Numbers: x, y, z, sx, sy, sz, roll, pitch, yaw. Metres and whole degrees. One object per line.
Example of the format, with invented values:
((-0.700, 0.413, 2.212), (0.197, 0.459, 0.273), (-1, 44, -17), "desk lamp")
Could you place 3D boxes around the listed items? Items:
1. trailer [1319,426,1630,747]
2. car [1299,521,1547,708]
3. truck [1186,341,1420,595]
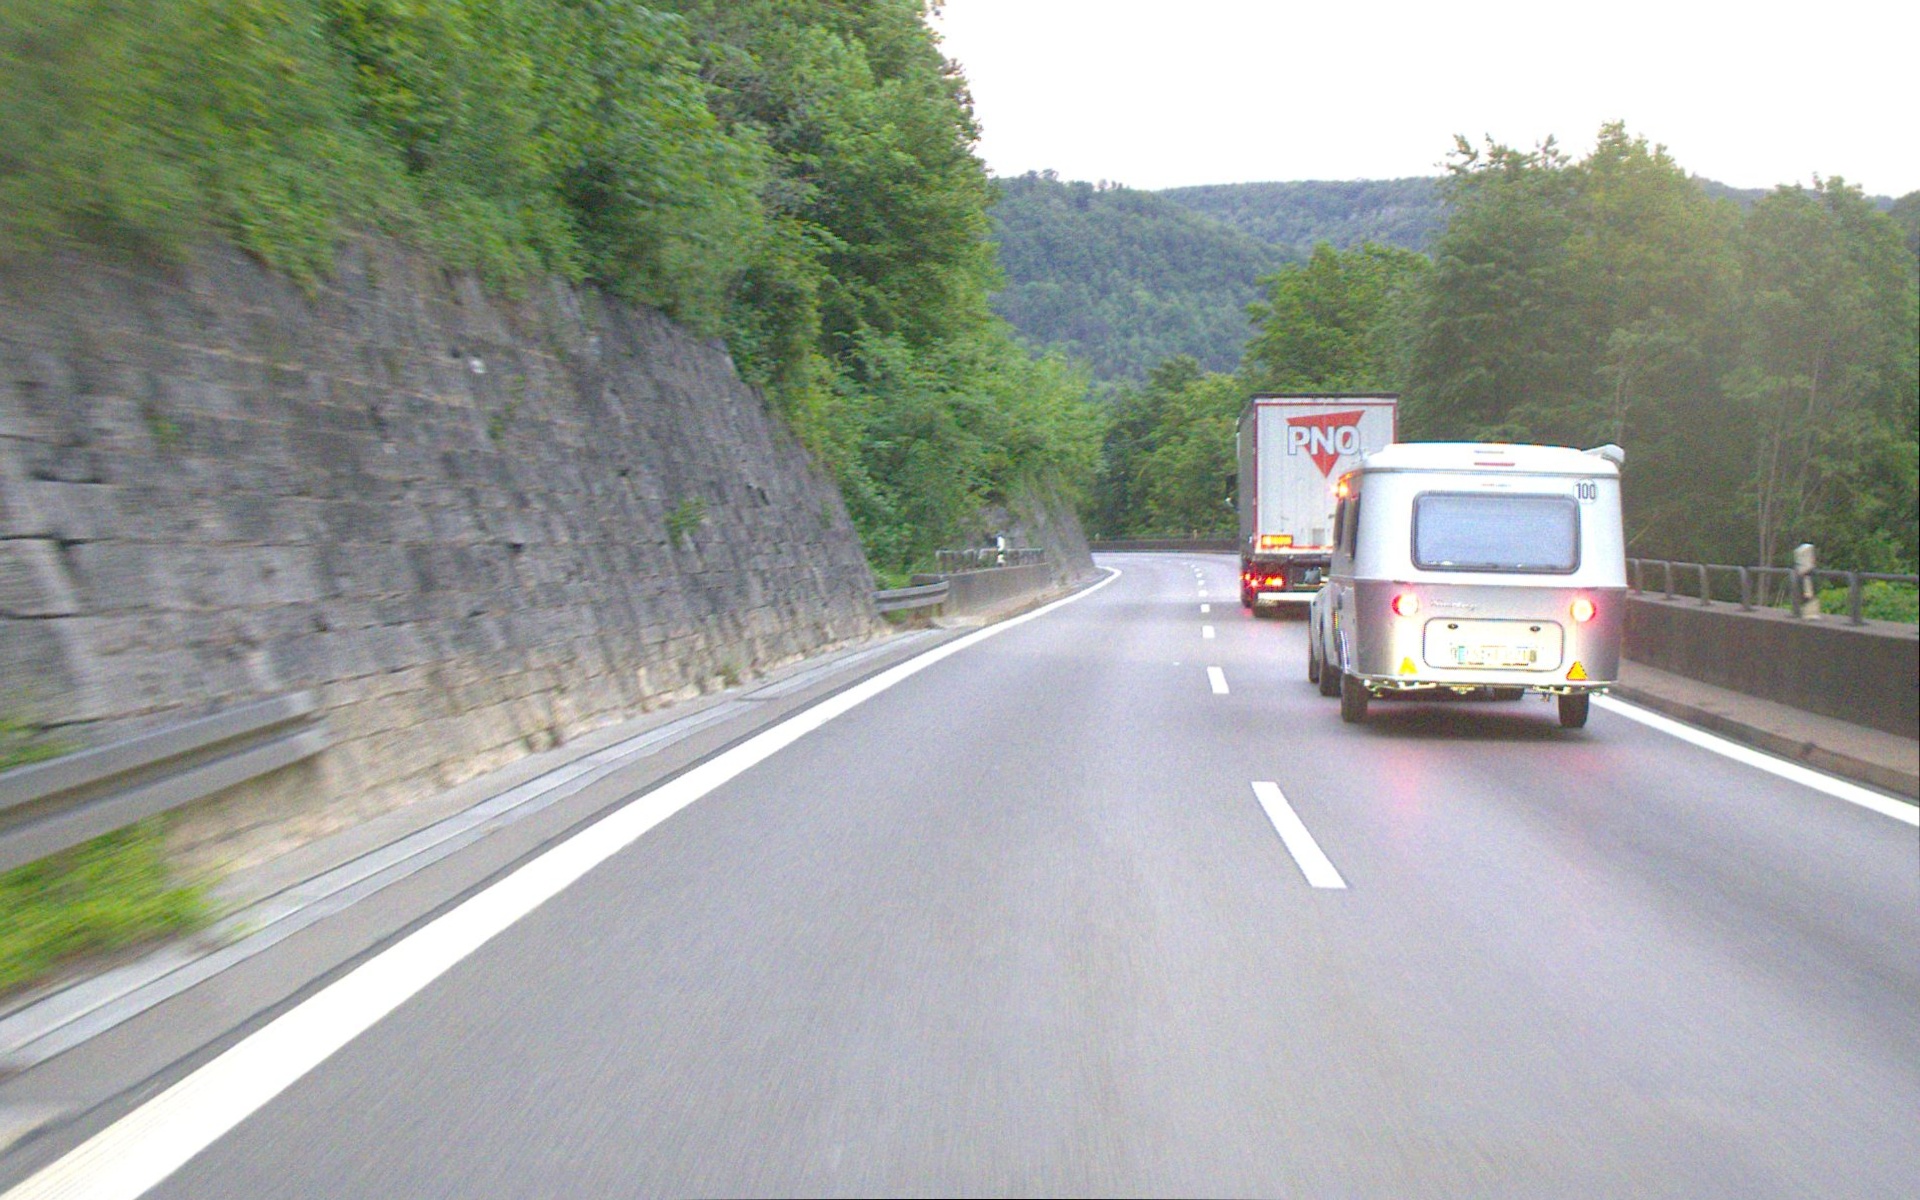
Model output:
((4.115, -0.161, 28.429), (2.055, 2.367, 5.937), (0, 1, 4), "trailer")
((4.411, 0.091, 33.410), (1.994, 1.609, 4.864), (2, 1, 4), "car")
((6.492, -2.401, 67.956), (3.295, 4.158, 16.502), (-4, 1, 2), "truck")
